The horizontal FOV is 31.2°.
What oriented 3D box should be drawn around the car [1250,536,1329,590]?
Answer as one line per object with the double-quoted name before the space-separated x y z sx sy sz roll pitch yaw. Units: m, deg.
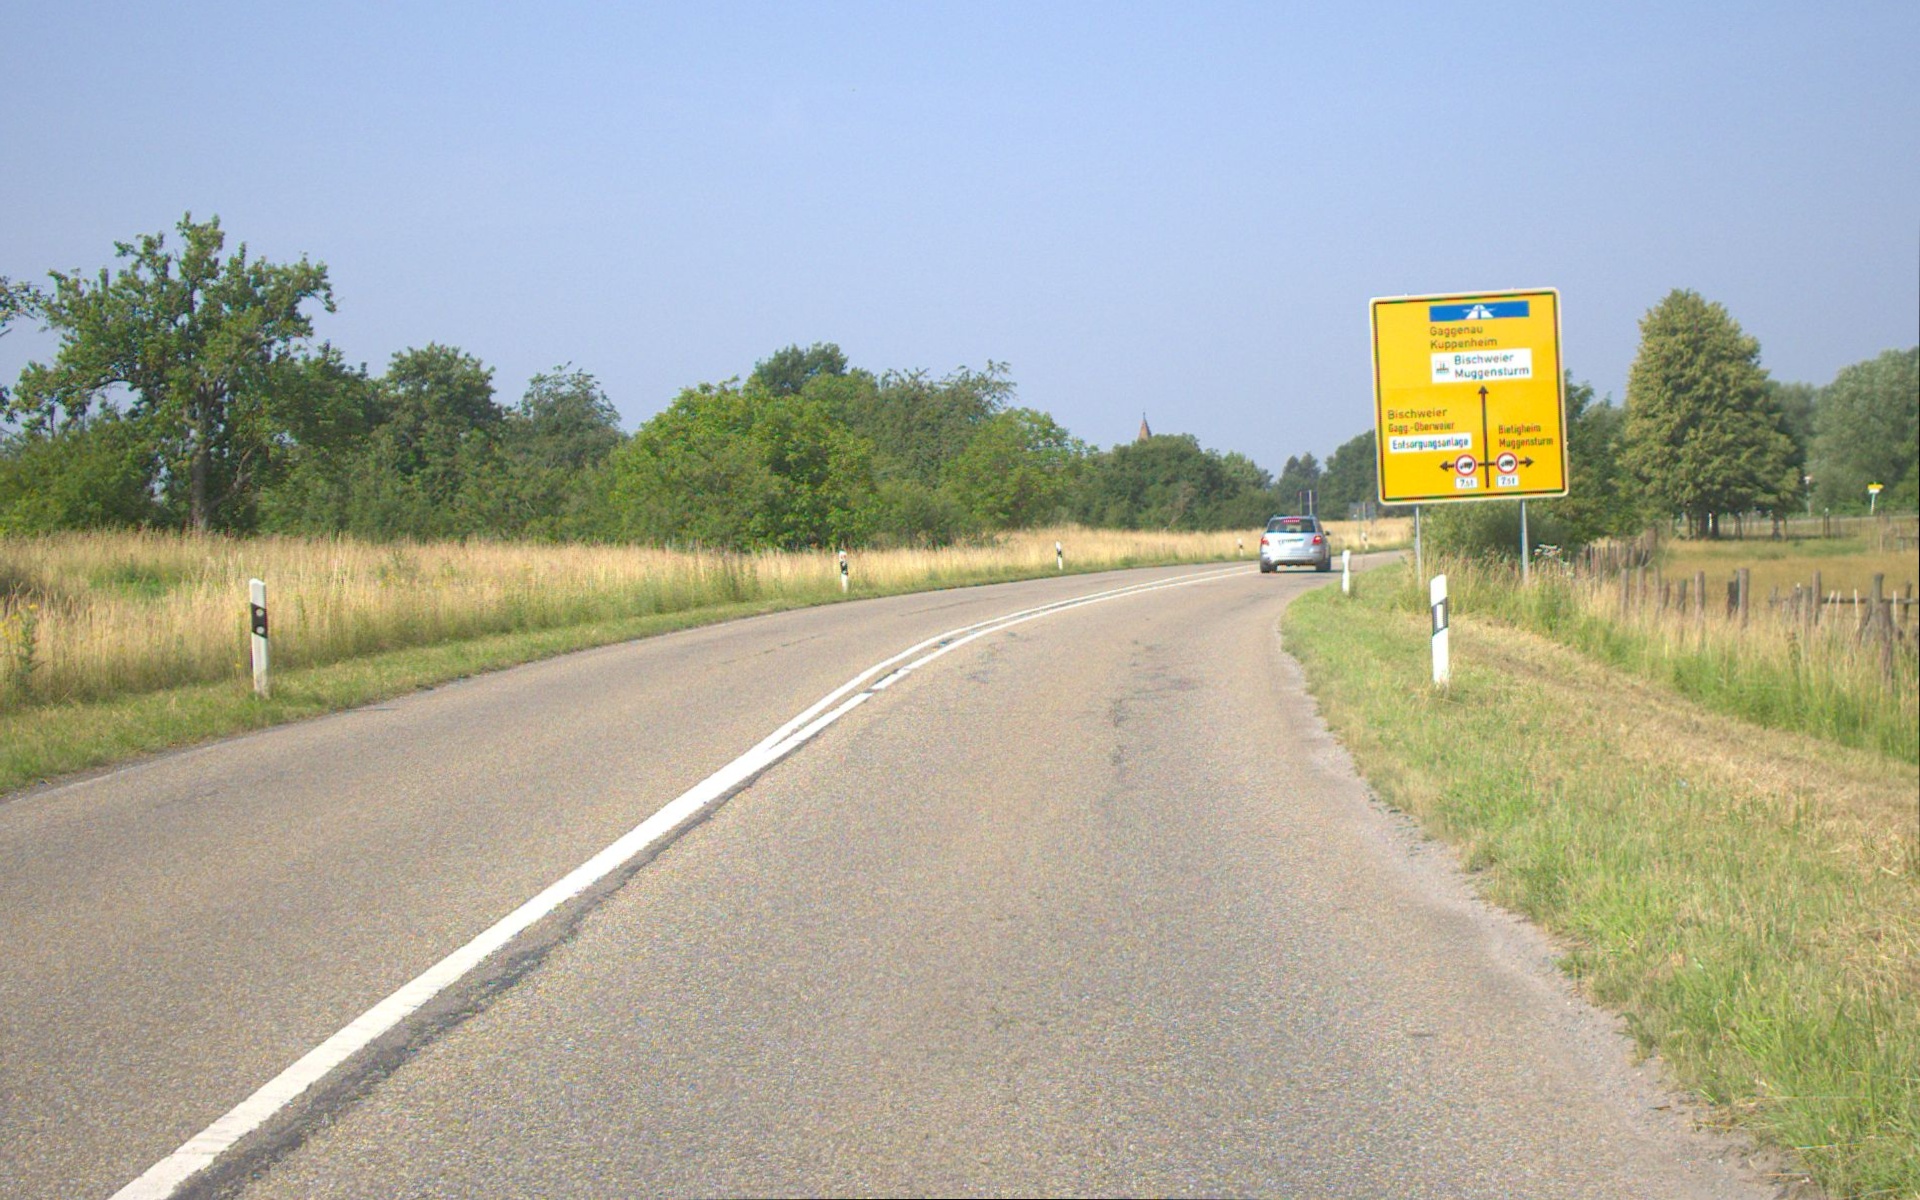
"car" 9.507 -1.079 98.950 1.900 1.506 3.998 0 1 11
